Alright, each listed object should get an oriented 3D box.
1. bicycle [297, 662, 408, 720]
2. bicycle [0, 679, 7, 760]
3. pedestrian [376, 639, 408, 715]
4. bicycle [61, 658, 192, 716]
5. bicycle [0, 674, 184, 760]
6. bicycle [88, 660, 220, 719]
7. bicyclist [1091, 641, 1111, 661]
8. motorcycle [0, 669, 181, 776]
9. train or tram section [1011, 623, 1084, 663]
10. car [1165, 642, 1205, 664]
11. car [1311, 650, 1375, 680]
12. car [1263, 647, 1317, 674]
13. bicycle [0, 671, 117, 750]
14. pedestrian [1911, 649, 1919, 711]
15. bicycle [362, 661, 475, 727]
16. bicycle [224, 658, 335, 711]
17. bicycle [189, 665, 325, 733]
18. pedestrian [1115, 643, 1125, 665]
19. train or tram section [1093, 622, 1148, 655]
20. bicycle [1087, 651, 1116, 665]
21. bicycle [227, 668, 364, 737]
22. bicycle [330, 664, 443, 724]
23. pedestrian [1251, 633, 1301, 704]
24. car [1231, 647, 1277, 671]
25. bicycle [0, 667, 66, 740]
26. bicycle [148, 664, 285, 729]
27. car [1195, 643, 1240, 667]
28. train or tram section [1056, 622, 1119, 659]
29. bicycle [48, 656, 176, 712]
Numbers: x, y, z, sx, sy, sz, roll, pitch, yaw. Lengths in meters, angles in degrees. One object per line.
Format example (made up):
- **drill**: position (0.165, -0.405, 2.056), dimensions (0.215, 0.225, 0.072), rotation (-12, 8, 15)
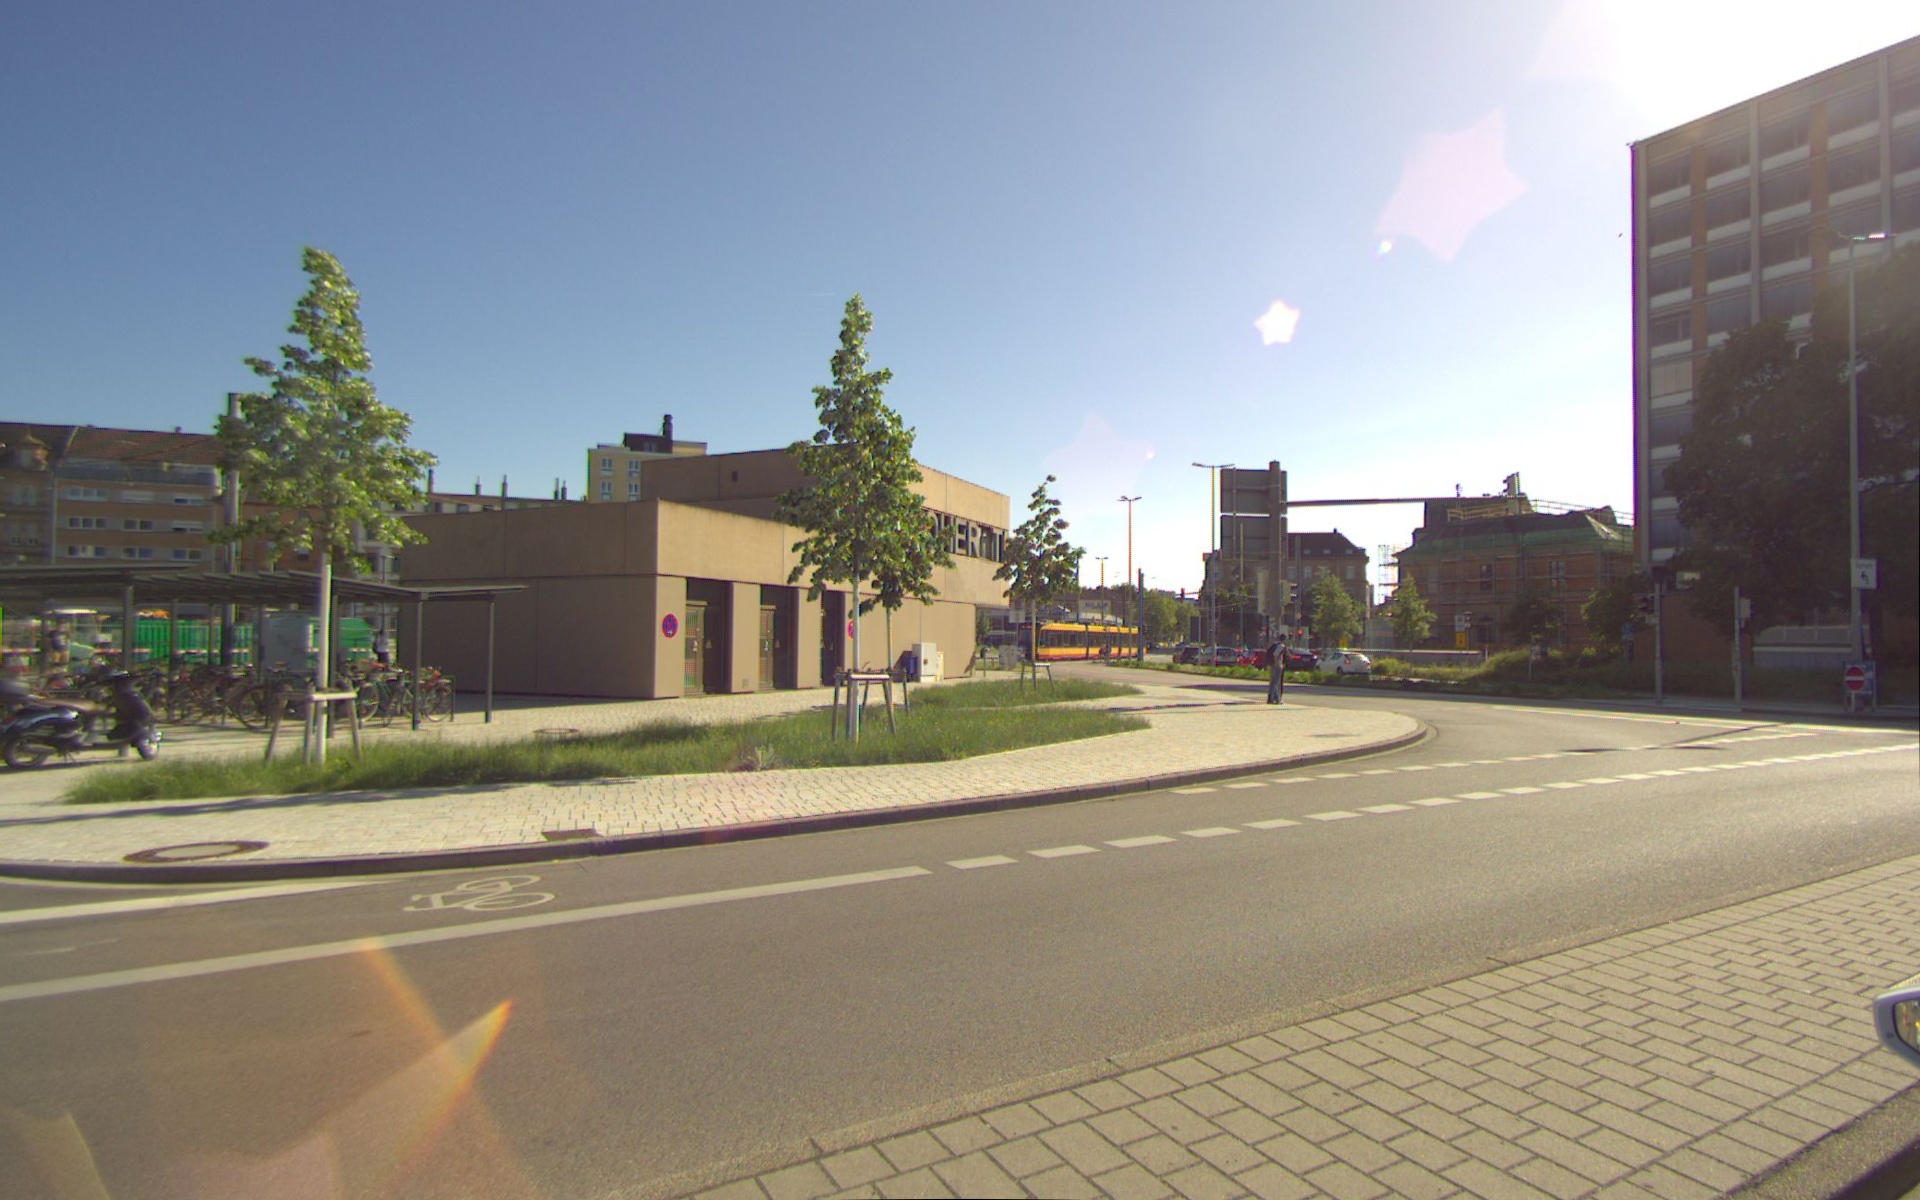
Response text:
- **bicycle**: position (-11.795, 1.740, 19.575), dimensions (0.449, 1.022, 1.902), rotation (0, -2, 26)
- **bicycle**: position (-12.744, 1.482, 12.002), dimensions (0.449, 1.022, 1.902), rotation (0, -2, 26)
- **pedestrian**: position (-15.659, 2.103, 27.688), dimensions (0.710, 2.040, 0.682), rotation (2, -3, -30)
- **bicycle**: position (-15.915, 1.640, 19.239), dimensions (0.449, 1.022, 1.902), rotation (0, -2, 26)
- **bicycle**: position (-11.813, 1.553, 13.722), dimensions (0.449, 1.022, 1.902), rotation (0, -2, 26)
- **bicycle**: position (-15.079, 1.653, 18.863), dimensions (0.449, 1.022, 1.902), rotation (0, -2, 26)
- **bicyclist**: position (11.905, 4.302, 85.035), dimensions (1.544, 1.655, 0.811), rotation (2, 0, 16)
- **motorcycle**: position (-10.918, 1.473, 12.469), dimensions (0.508, 1.166, 1.947), rotation (0, -2, 25)
- **train or tram section**: position (7.916, 3.687, 88.896), dimensions (2.651, 3.275, 10.589), rotation (2, 0, 27)
- **car**: position (16.786, 3.923, 74.994), dimensions (1.760, 1.528, 3.880), rotation (1, -2, -6)
- **car**: position (21.257, 3.588, 55.930), dimensions (1.760, 1.528, 3.880), rotation (1, -2, -6)
- **car**: position (20.584, 3.762, 62.786), dimensions (1.760, 1.528, 3.880), rotation (1, -2, -6)
- **bicycle**: position (-13.027, 1.534, 14.014), dimensions (0.449, 1.022, 1.902), rotation (0, -2, 26)
- **pedestrian**: position (29.526, 2.429, 30.351), dimensions (0.895, 1.887, 0.813), rotation (1, -2, -16)
- **bicycle**: position (-9.925, 1.694, 18.489), dimensions (0.449, 1.112, 1.902), rotation (0, -2, 26)
- **bicycle**: position (-14.071, 1.725, 20.828), dimensions (0.449, 1.022, 1.902), rotation (0, -2, 26)
- **bicycle**: position (-11.887, 1.649, 17.058), dimensions (0.449, 1.022, 1.902), rotation (0, -2, 26)
- **pedestrian**: position (13.046, 4.409, 81.950), dimensions (0.761, 1.786, 0.706), rotation (0, -2, 10)
- **train or tram section**: position (17.350, 4.066, 107.874), dimensions (2.651, 3.275, 10.589), rotation (2, 0, 27)
- **bicycle**: position (11.963, 4.885, 85.012), dimensions (2.370, 1.076, 0.811), rotation (2, 0, 15)
- **bicycle**: position (-10.909, 1.660, 16.569), dimensions (0.449, 1.022, 1.902), rotation (0, -2, 26)
- **bicycle**: position (-10.705, 1.731, 18.818), dimensions (0.449, 1.022, 1.902), rotation (0, -2, 26)
- **pedestrian**: position (7.988, 1.720, 25.406), dimensions (1.044, 1.753, 0.652), rotation (1, -2, -16)
- **car**: position (20.215, 4.026, 69.247), dimensions (1.760, 1.528, 3.880), rotation (1, -2, -6)
- **bicycle**: position (-14.157, 1.505, 14.445), dimensions (0.449, 1.022, 1.902), rotation (0, -2, 26)
- **bicycle**: position (-12.897, 1.645, 17.488), dimensions (0.449, 1.022, 1.902), rotation (0, -2, 26)
- **car**: position (17.467, 3.688, 68.268), dimensions (1.760, 1.528, 3.880), rotation (1, -2, -6)
- **train or tram section**: position (12.625, 3.876, 98.385), dimensions (2.651, 3.275, 10.589), rotation (2, 0, 27)
- **bicycle**: position (-16.698, 1.635, 19.837), dimensions (0.449, 1.022, 1.902), rotation (0, -2, 26)
